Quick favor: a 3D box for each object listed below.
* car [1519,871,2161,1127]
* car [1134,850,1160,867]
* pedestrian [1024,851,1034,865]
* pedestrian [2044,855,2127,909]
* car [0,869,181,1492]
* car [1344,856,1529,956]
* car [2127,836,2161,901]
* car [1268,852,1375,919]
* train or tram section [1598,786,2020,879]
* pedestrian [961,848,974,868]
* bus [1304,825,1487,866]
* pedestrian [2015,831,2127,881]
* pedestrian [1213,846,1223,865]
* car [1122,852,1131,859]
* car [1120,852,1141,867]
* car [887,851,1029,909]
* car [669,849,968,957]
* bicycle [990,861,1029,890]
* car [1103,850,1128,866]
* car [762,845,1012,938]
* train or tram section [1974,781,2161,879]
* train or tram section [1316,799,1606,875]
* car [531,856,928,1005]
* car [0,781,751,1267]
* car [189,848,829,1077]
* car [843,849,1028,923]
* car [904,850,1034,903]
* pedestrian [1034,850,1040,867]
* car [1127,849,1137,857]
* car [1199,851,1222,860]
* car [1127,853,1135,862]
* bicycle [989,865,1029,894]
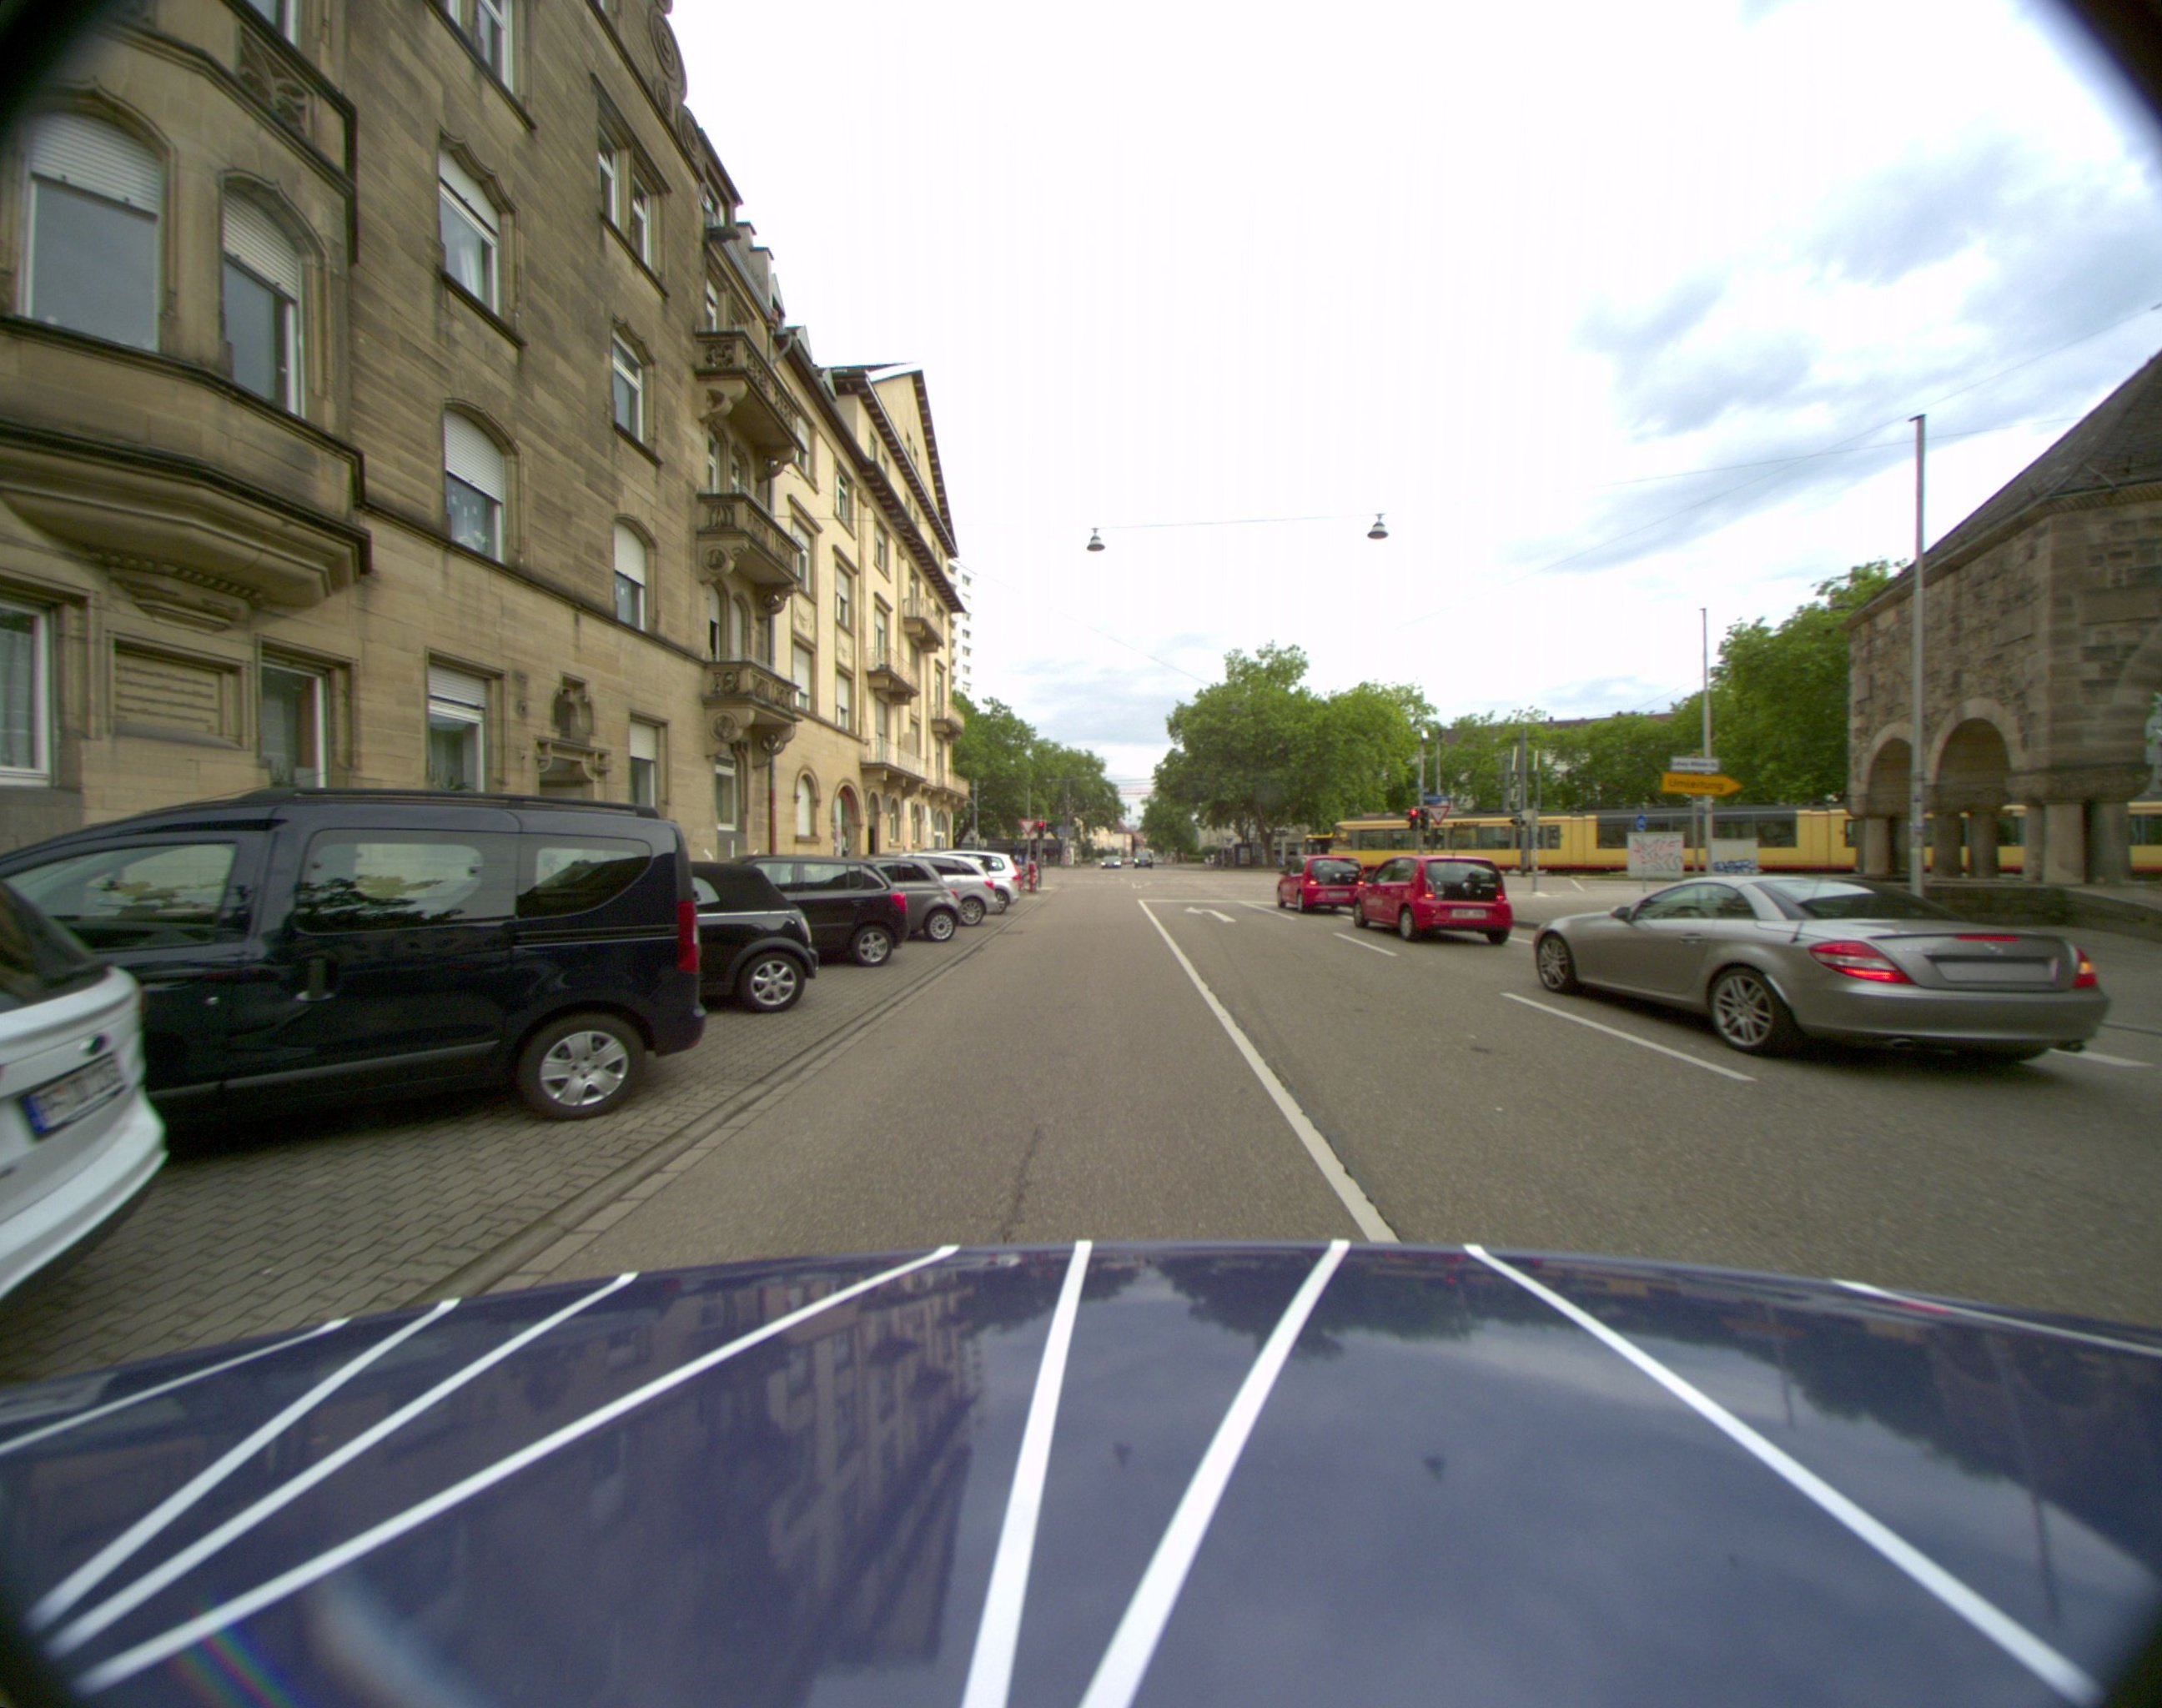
[{"bbox_3d":[5.640,0.885,6.418,1.708,1.279,4.042,2,1,3],"label":"car"},{"bbox_3d":[7.197,0.517,82.667,1.908,1.708,3.746,0,-2,21],"label":"car"},{"bbox_3d":[-5.440,0.405,79.150,0.852,1.500,0.555,0,2,20],"label":"pedestrian"},{"bbox_3d":[23.905,0.641,18.109,1.059,1.222,0.740,1,2,42],"label":"pedestrian"},{"bbox_3d":[-4.576,0.788,1.022,4.009,1.592,1.761,3,-1,-37],"label":"car"},{"bbox_3d":[6.144,0.806,13.615,1.606,1.448,3.718,2,1,2],"label":"car"},{"bbox_3d":[27.783,0.411,18.022,1.658,1.627,4.370,0,2,27],"label":"car"},{"bbox_3d":[6.101,0.747,19.705,1.653,1.519,3.894,2,0,3],"label":"car"},{"bbox_3d":[35.439,-0.992,38.493,14.998,4.070,3.587,0,2,28],"label":"train or tram section"},{"bbox_3d":[-9.885,0.335,66.218,0.876,1.686,0.744,0,2,28],"label":"pedestrian"},{"bbox_3d":[23.293,-0.617,56.774,12.347,2.840,3.298,0,2,28],"label":"bus"},{"bbox_3d":[24.462,0.037,18.817,1.489,1.185,0.740,0,2,27],"label":"pedestrian"},{"bbox_3d":[14.038,0.135,77.781,0.690,1.876,0.687,-2,2,-30],"label":"pedestrian"},{"bbox_3d":[11.722,0.394,196.099,1.997,1.790,4.001,-1,2,7],"label":"car"},{"bbox_3d":[6.020,0.647,91.893,1.660,1.708,3.745,0,-2,17],"label":"car"},{"bbox_3d":[-3.575,0.774,22.300,3.596,1.500,1.843,3,1,-39],"label":"car"},{"bbox_3d":[-4.378,0.791,13.023,4.475,1.564,1.742,3,-1,-36],"label":"car"},{"bbox_3d":[-3.021,0.892,32.166,1.571,1.121,0.476,3,2,2],"label":"bicycle"},{"bbox_3d":[3.855,0.471,84.212,1.660,1.708,3.746,0,-2,21],"label":"car"},{"bbox_3d":[-4.051,0.741,16.217,4.761,1.675,1.931,2,1,-34],"label":"car"},{"bbox_3d":[50.836,-1.045,30.170,19.894,4.070,3.634,0,2,28],"label":"train or tram section"},{"bbox_3d":[22.212,-0.937,45.654,14.998,4.070,3.661,0,2,28],"label":"train or tram section"},{"bbox_3d":[-4.496,0.831,10.037,4.474,1.543,1.847,1,0,-36],"label":"car"},{"bbox_3d":[-4.325,0.680,4.063,4.292,1.895,1.874,3,-1,-39],"label":"car"},{"bbox_3d":[-4.718,0.806,6.969,4.080,1.445,2.026,4,0,-36],"label":"car"},{"bbox_3d":[-3.714,0.767,19.509,4.232,1.673,1.911,1,1,-32],"label":"car"},{"bbox_3d":[-3.631,0.758,25.078,3.843,1.552,1.789,3,1,-44],"label":"car"},{"bbox_3d":[-4.361,0.451,75.737,0.524,1.603,0.526,-1,2,-5],"label":"pedestrian"},{"bbox_3d":[15.001,-0.327,225.350,1.996,2.002,4.004,0,2,18],"label":"car"},{"bbox_3d":[20.700,0.251,121.779,1.804,1.477,3.992,-1,1,-23],"label":"car"},{"bbox_3d":[11.734,0.807,177.994,1.998,2.002,4.000,-1,2,4],"label":"car"},{"bbox_3d":[-2.950,1.048,31.198,1.571,1.121,0.476,3,2,2],"label":"bicycle"}]
